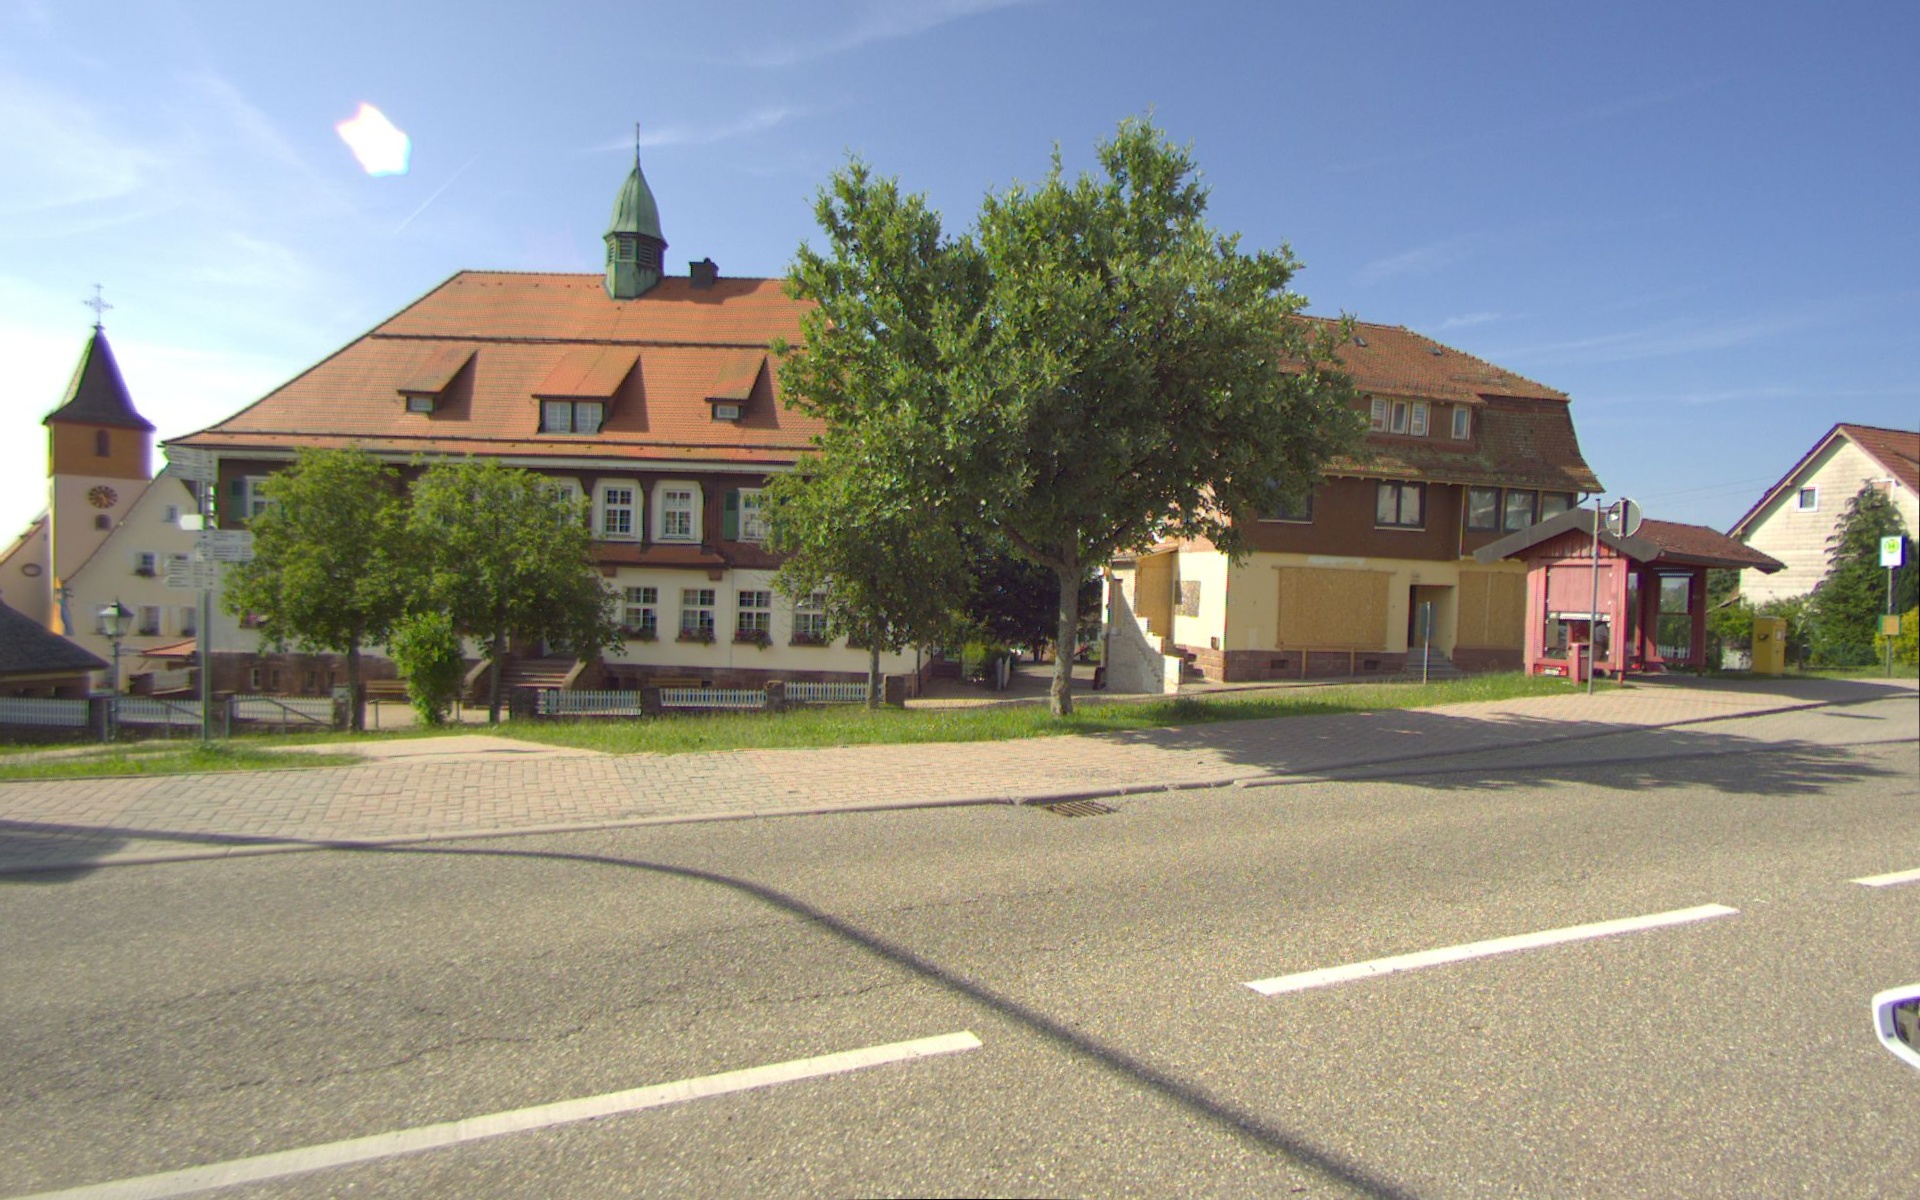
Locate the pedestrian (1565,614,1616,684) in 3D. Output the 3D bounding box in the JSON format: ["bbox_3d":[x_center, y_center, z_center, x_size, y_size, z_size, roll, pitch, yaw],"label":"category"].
[{"bbox_3d":[12.700,0.981,20.247,0.666,1.382,0.614,0,-1,-31],"label":"pedestrian"}]

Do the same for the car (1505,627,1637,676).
[{"bbox_3d":[24.158,2.006,39.929,1.772,1.531,4.296,3,0,-19],"label":"car"}]

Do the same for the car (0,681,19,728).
[{"bbox_3d":[-33.018,3.408,32.582,3.433,1.486,1.578,0,-2,0],"label":"car"}]

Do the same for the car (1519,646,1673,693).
[{"bbox_3d":[19.057,2.056,30.118,3.933,1.314,1.721,1,-1,-15],"label":"car"}]

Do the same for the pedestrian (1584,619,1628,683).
[{"bbox_3d":[13.190,1.033,20.522,0.419,1.269,0.626,1,-2,-32],"label":"pedestrian"}]

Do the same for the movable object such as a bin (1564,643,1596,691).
[{"bbox_3d":[11.142,1.198,18.041,0.480,0.848,0.303,2,-1,-32],"label":"movable object such as a bin"}]
